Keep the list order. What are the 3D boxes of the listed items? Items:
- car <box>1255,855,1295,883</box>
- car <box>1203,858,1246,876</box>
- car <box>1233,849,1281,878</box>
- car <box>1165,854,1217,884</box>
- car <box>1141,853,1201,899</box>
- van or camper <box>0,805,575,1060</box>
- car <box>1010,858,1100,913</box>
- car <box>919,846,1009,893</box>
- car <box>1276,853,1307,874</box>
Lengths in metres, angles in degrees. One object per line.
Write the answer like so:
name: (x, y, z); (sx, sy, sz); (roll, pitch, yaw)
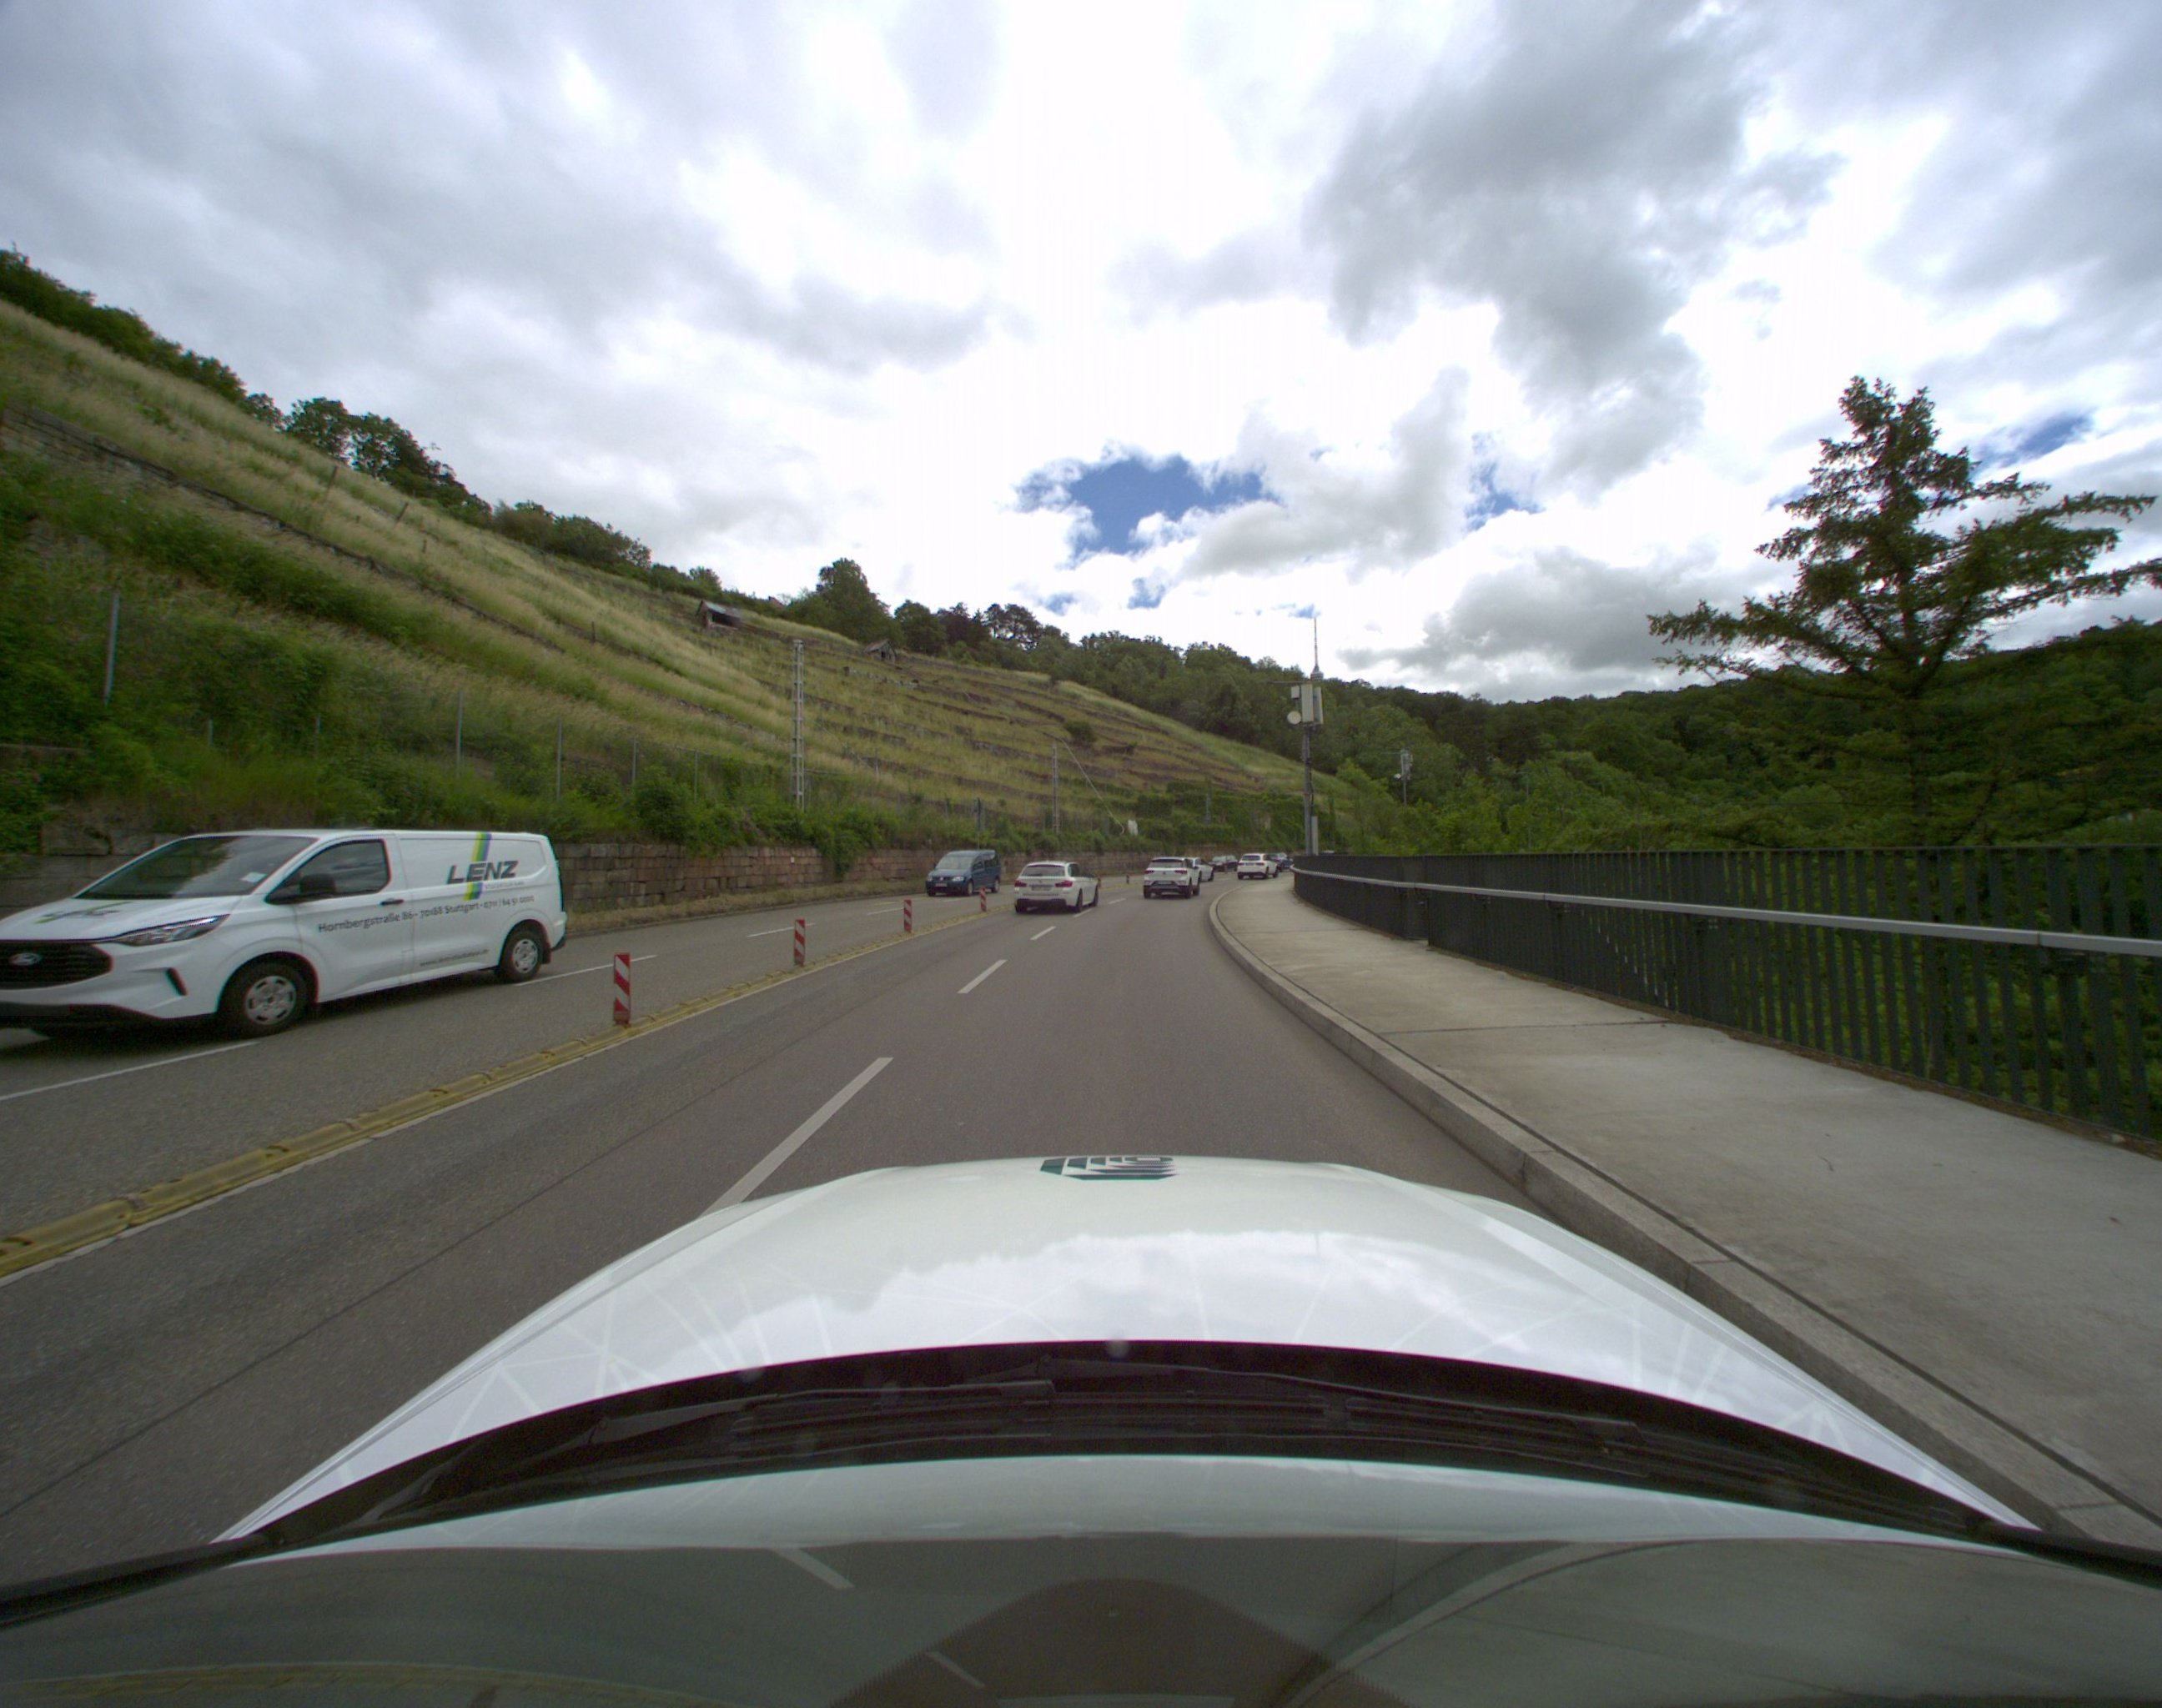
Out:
car: (15.686, 1.187, 65.763); (1.974, 2.014, 4.024); (-5, -3, 29)
car: (12.430, 1.092, 70.158); (1.833, 1.413, 4.444); (0, 2, 37)
car: (11.277, 0.579, 52.016); (1.975, 1.718, 4.138); (-3, -1, 26)
car: (6.475, 0.925, 47.438); (1.977, 1.503, 4.689); (-6, -4, 19)
car: (3.594, 0.788, 31.857); (1.815, 1.605, 4.015); (0, 1, 14)
van or camper: (-8.291, 0.601, 8.975); (2.139, 2.016, 4.967); (0, 0, 3)
car: (-0.659, 0.859, 24.266); (1.817, 1.460, 4.498); (-1, 0, 10)
car: (-4.667, 0.577, 33.200); (1.837, 1.782, 4.753); (0, 0, 16)
car: (19.578, 0.918, 75.575); (1.852, 1.762, 4.023); (-4, -4, 28)
